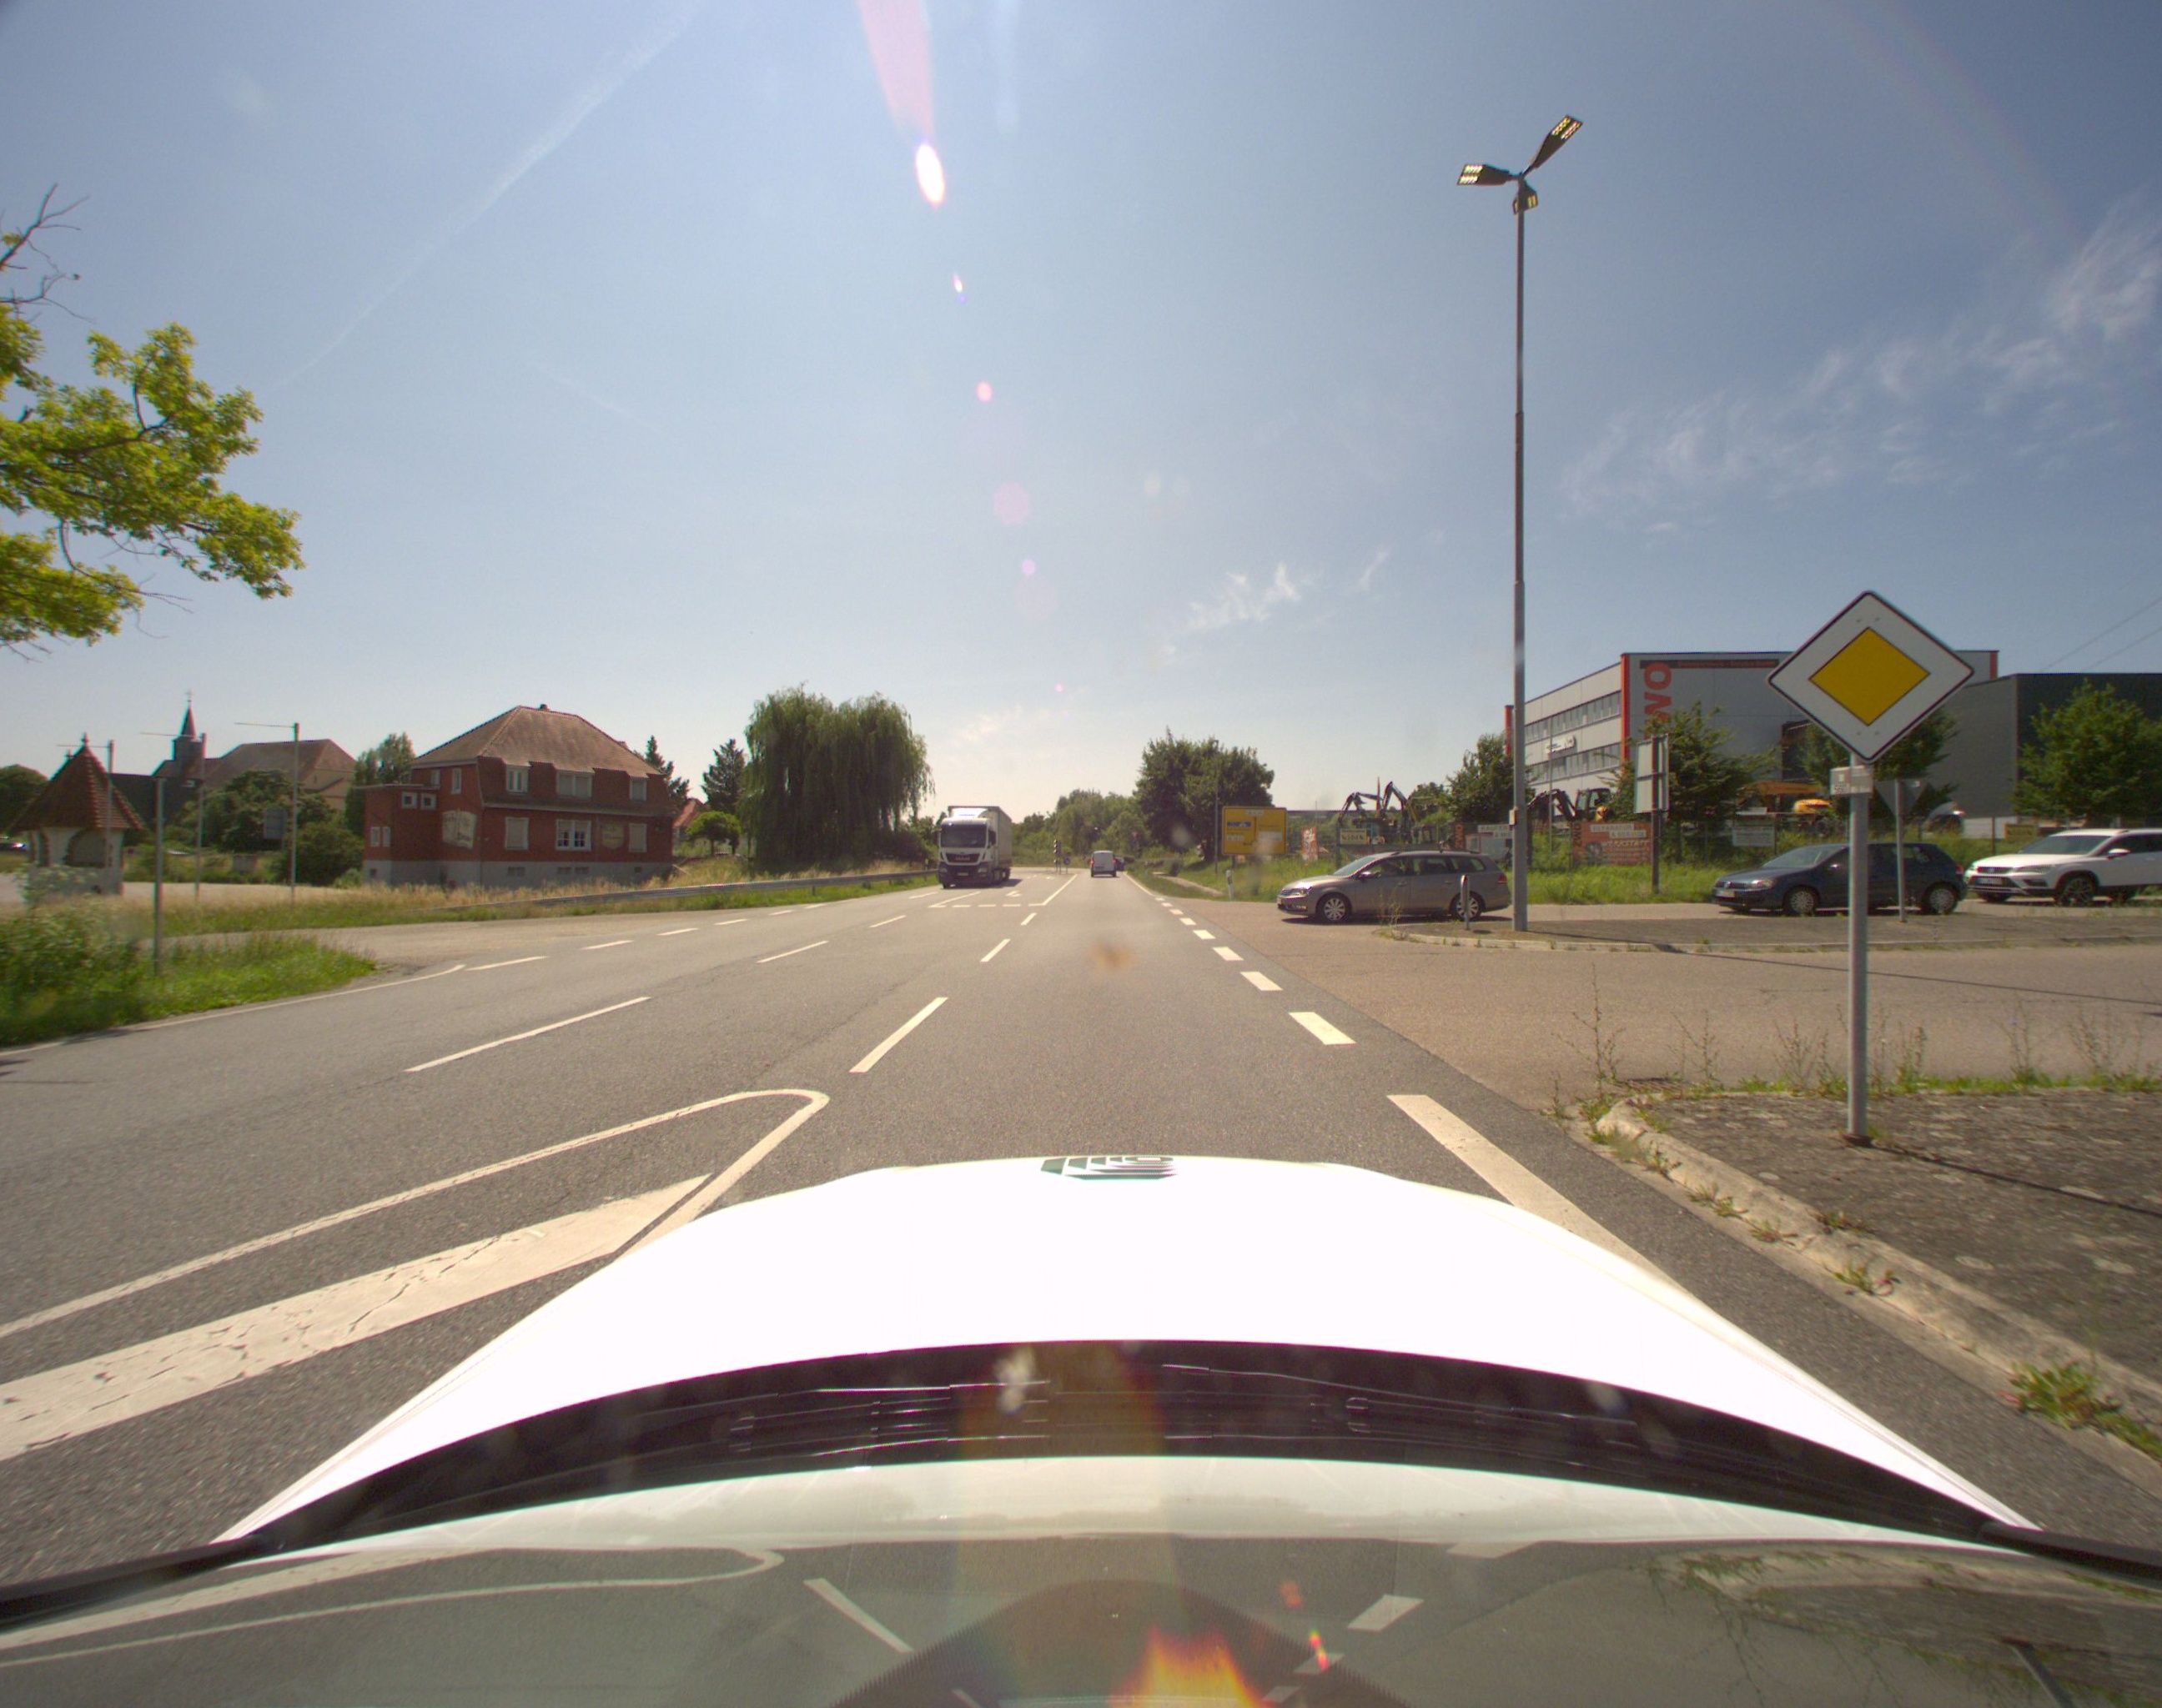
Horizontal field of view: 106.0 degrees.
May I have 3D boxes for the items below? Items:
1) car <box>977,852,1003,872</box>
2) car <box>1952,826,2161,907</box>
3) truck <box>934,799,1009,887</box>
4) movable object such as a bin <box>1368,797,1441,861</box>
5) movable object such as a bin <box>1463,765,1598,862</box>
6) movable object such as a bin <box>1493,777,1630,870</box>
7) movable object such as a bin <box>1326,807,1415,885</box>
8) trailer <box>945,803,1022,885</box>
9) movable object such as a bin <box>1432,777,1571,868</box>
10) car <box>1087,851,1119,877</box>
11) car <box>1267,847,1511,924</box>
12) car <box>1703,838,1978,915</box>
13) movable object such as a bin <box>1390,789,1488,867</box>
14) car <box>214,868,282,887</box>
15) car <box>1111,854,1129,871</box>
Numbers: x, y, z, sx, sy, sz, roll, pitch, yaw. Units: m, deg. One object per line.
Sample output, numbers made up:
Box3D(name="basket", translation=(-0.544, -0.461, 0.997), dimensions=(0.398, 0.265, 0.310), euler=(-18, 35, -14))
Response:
Box3D(name="car", translation=(-7.553, 0.651, 67.411), dimensions=(1.847, 1.567, 3.986), euler=(-1, 0, -10))
Box3D(name="car", translation=(22.200, 0.242, 17.906), dimensions=(4.066, 1.621, 1.761), euler=(-1, 1, 4))
Box3D(name="truck", translation=(-5.452, -0.508, 41.713), dimensions=(2.781, 4.056, 6.753), euler=(2, 0, 0))
Box3D(name="movable object such as a bin", translation=(26.860, -2.040, 67.809), dimensions=(5.061, 5.055, 2.781), euler=(2, -2, 4))
Box3D(name="movable object such as a bin", translation=(25.218, -2.216, 45.955), dimensions=(5.891, 5.106, 3.112), euler=(2, -2, 4))
Box3D(name="movable object such as a bin", translation=(23.488, -1.430, 40.015), dimensions=(5.061, 4.275, 2.837), euler=(2, -2, 4))
Box3D(name="movable object such as a bin", translation=(13.055, -0.249, 37.087), dimensions=(2.314, 3.250, 5.102), euler=(2, -2, 2))
Box3D(name="trailer", translation=(-5.423, -0.525, 47.962), dimensions=(2.781, 4.056, 13.501), euler=(2, 0, 0))
Box3D(name="movable object such as a bin", translation=(25.567, -1.833, 49.839), dimensions=(6.561, 5.148, 3.810), euler=(2, -2, 4))
Box3D(name="car", translation=(1.495, 0.669, 56.566), dimensions=(1.899, 1.732, 3.818), euler=(1, -1, -3))
Box3D(name="car", translation=(6.412, 0.636, 17.343), dimensions=(4.494, 1.508, 1.915), euler=(-1, 0, 2))
Box3D(name="car", translation=(15.338, 0.436, 16.617), dimensions=(3.981, 1.440, 1.637), euler=(-1, 0, 4))
Box3D(name="movable object such as a bin", translation=(25.744, -1.823, 58.804), dimensions=(5.690, 5.270, 3.225), euler=(2, -2, 4))
Box3D(name="car", translation=(-71.981, 2.003, 70.425), dimensions=(1.569, 1.442, 4.024), euler=(-1, 1, 43))
Box3D(name="car", translation=(4.050, 0.852, 84.331), dimensions=(1.798, 1.556, 4.002), euler=(0, 1, 2))
